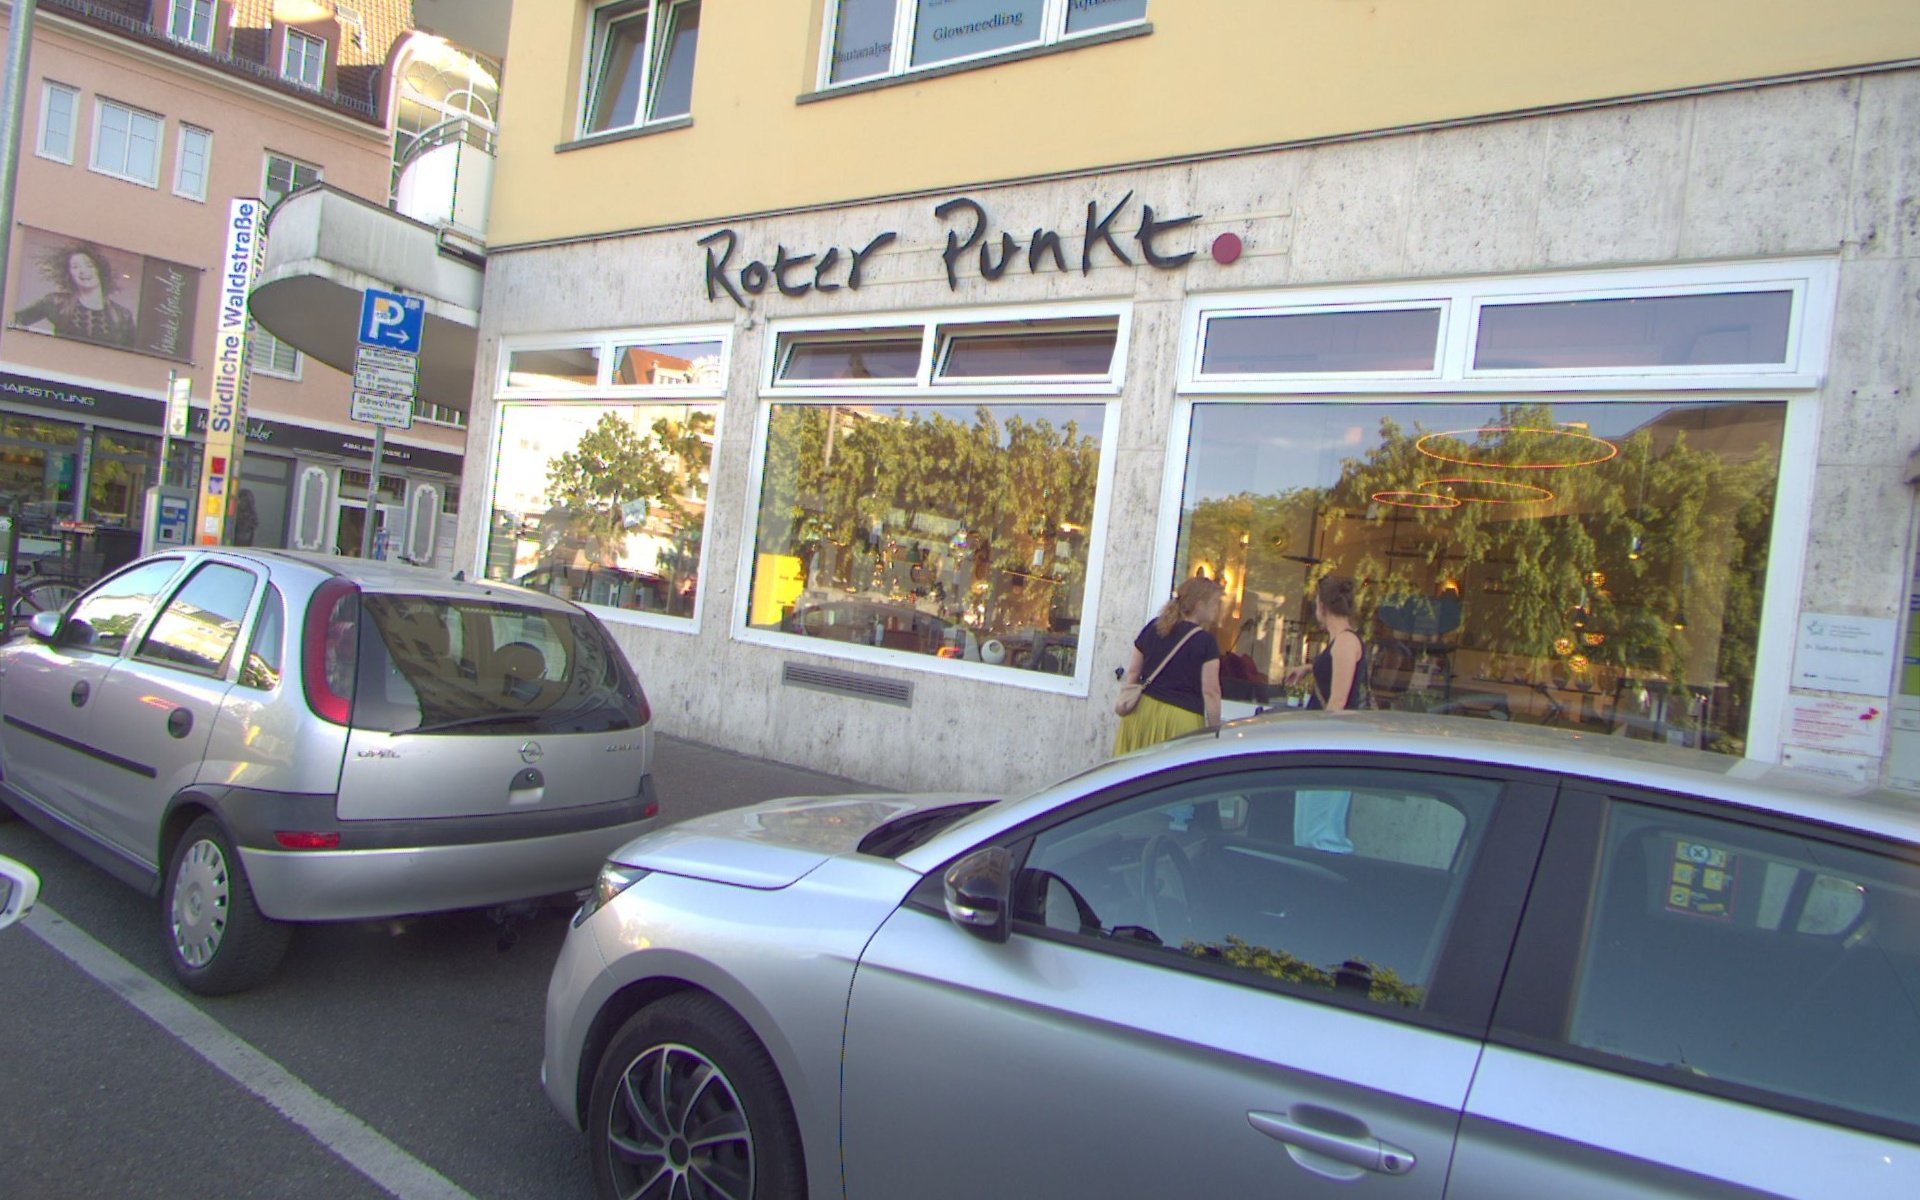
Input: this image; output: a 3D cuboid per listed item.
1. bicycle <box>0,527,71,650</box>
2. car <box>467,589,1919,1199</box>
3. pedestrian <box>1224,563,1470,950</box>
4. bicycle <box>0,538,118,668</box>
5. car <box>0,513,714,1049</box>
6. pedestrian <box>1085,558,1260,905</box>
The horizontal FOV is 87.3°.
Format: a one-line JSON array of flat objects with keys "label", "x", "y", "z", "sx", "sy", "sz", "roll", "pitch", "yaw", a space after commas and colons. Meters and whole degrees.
[{"label": "bicycle", "x": -9.096, "y": -0.144, "z": 8.813, "sx": 0.408, "sy": 1.101, "sz": 1.872, "roll": 6, "pitch": 1, "yaw": 35}, {"label": "car", "x": 0.776, "y": 0.928, "z": 2.270, "sx": 3.598, "sy": 1.444, "sz": 1.550, "roll": 6, "pitch": -1, "yaw": 30}, {"label": "pedestrian", "x": 1.815, "y": 0.711, "z": 4.779, "sx": 0.650, "sy": 1.685, "sz": 0.645, "roll": 7, "pitch": 0, "yaw": -19}, {"label": "bicycle", "x": -8.132, "y": 0.002, "z": 8.192, "sx": 0.348, "sy": 1.051, "sz": 1.871, "roll": 6, "pitch": 1, "yaw": 38}, {"label": "car", "x": -2.933, "y": 0.489, "z": 4.433, "sx": 3.420, "sy": 1.407, "sz": 1.548, "roll": 6, "pitch": -1, "yaw": 33}, {"label": "pedestrian", "x": 1.217, "y": 0.721, "z": 5.793, "sx": 0.729, "sy": 1.805, "sz": 0.568, "roll": 7, "pitch": 0, "yaw": 12}]
